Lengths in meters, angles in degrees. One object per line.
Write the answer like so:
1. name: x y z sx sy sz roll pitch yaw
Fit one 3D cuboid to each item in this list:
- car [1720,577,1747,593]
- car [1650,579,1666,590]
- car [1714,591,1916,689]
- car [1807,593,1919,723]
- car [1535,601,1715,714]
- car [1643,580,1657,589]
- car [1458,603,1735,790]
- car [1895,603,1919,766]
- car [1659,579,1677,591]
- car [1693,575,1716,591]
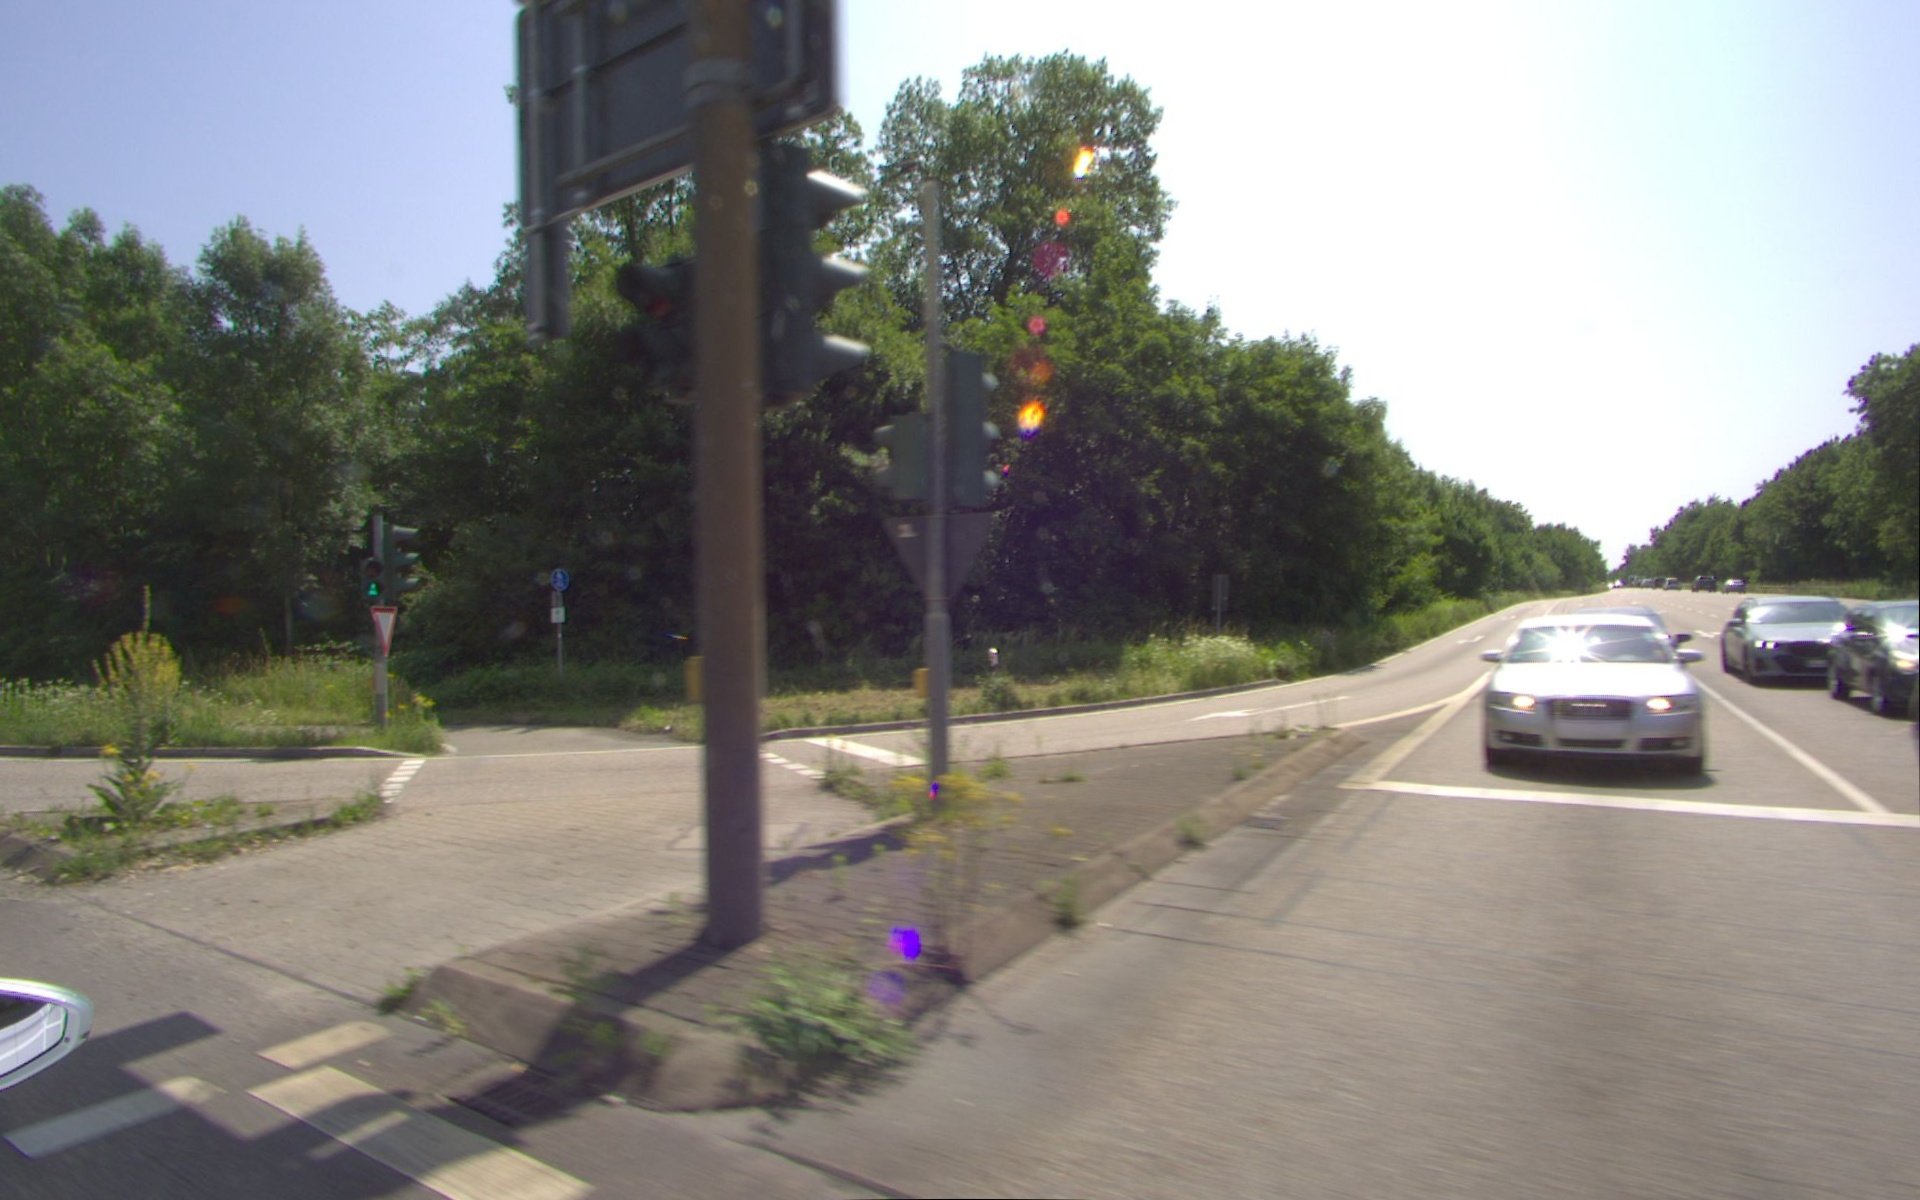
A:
1. car: 78.299 -1.488 101.403 1.821 1.518 4.437 -1 0 33
2. car: 109.551 -2.411 157.179 1.821 1.518 4.437 -1 0 33
3. car: 15.633 0.653 18.634 2.108 1.553 5.117 -2 -1 32
4. car: 13.306 0.680 13.590 2.092 1.555 4.411 -2 -1 32
5. car: 10.528 0.808 16.039 2.082 1.518 4.607 -2 -1 32
6. car: 122.280 -2.750 177.542 1.821 1.518 4.437 -1 0 33
7. car: 6.777 0.839 10.767 1.992 1.518 4.921 -2 -1 33
8. car: 8.806 0.741 7.342 1.966 1.466 4.086 -1 0 30
9. car: 97.722 -2.071 138.152 1.821 1.518 4.437 -1 0 33
10. car: 84.669 -1.897 113.925 1.821 1.774 4.437 -1 0 33
